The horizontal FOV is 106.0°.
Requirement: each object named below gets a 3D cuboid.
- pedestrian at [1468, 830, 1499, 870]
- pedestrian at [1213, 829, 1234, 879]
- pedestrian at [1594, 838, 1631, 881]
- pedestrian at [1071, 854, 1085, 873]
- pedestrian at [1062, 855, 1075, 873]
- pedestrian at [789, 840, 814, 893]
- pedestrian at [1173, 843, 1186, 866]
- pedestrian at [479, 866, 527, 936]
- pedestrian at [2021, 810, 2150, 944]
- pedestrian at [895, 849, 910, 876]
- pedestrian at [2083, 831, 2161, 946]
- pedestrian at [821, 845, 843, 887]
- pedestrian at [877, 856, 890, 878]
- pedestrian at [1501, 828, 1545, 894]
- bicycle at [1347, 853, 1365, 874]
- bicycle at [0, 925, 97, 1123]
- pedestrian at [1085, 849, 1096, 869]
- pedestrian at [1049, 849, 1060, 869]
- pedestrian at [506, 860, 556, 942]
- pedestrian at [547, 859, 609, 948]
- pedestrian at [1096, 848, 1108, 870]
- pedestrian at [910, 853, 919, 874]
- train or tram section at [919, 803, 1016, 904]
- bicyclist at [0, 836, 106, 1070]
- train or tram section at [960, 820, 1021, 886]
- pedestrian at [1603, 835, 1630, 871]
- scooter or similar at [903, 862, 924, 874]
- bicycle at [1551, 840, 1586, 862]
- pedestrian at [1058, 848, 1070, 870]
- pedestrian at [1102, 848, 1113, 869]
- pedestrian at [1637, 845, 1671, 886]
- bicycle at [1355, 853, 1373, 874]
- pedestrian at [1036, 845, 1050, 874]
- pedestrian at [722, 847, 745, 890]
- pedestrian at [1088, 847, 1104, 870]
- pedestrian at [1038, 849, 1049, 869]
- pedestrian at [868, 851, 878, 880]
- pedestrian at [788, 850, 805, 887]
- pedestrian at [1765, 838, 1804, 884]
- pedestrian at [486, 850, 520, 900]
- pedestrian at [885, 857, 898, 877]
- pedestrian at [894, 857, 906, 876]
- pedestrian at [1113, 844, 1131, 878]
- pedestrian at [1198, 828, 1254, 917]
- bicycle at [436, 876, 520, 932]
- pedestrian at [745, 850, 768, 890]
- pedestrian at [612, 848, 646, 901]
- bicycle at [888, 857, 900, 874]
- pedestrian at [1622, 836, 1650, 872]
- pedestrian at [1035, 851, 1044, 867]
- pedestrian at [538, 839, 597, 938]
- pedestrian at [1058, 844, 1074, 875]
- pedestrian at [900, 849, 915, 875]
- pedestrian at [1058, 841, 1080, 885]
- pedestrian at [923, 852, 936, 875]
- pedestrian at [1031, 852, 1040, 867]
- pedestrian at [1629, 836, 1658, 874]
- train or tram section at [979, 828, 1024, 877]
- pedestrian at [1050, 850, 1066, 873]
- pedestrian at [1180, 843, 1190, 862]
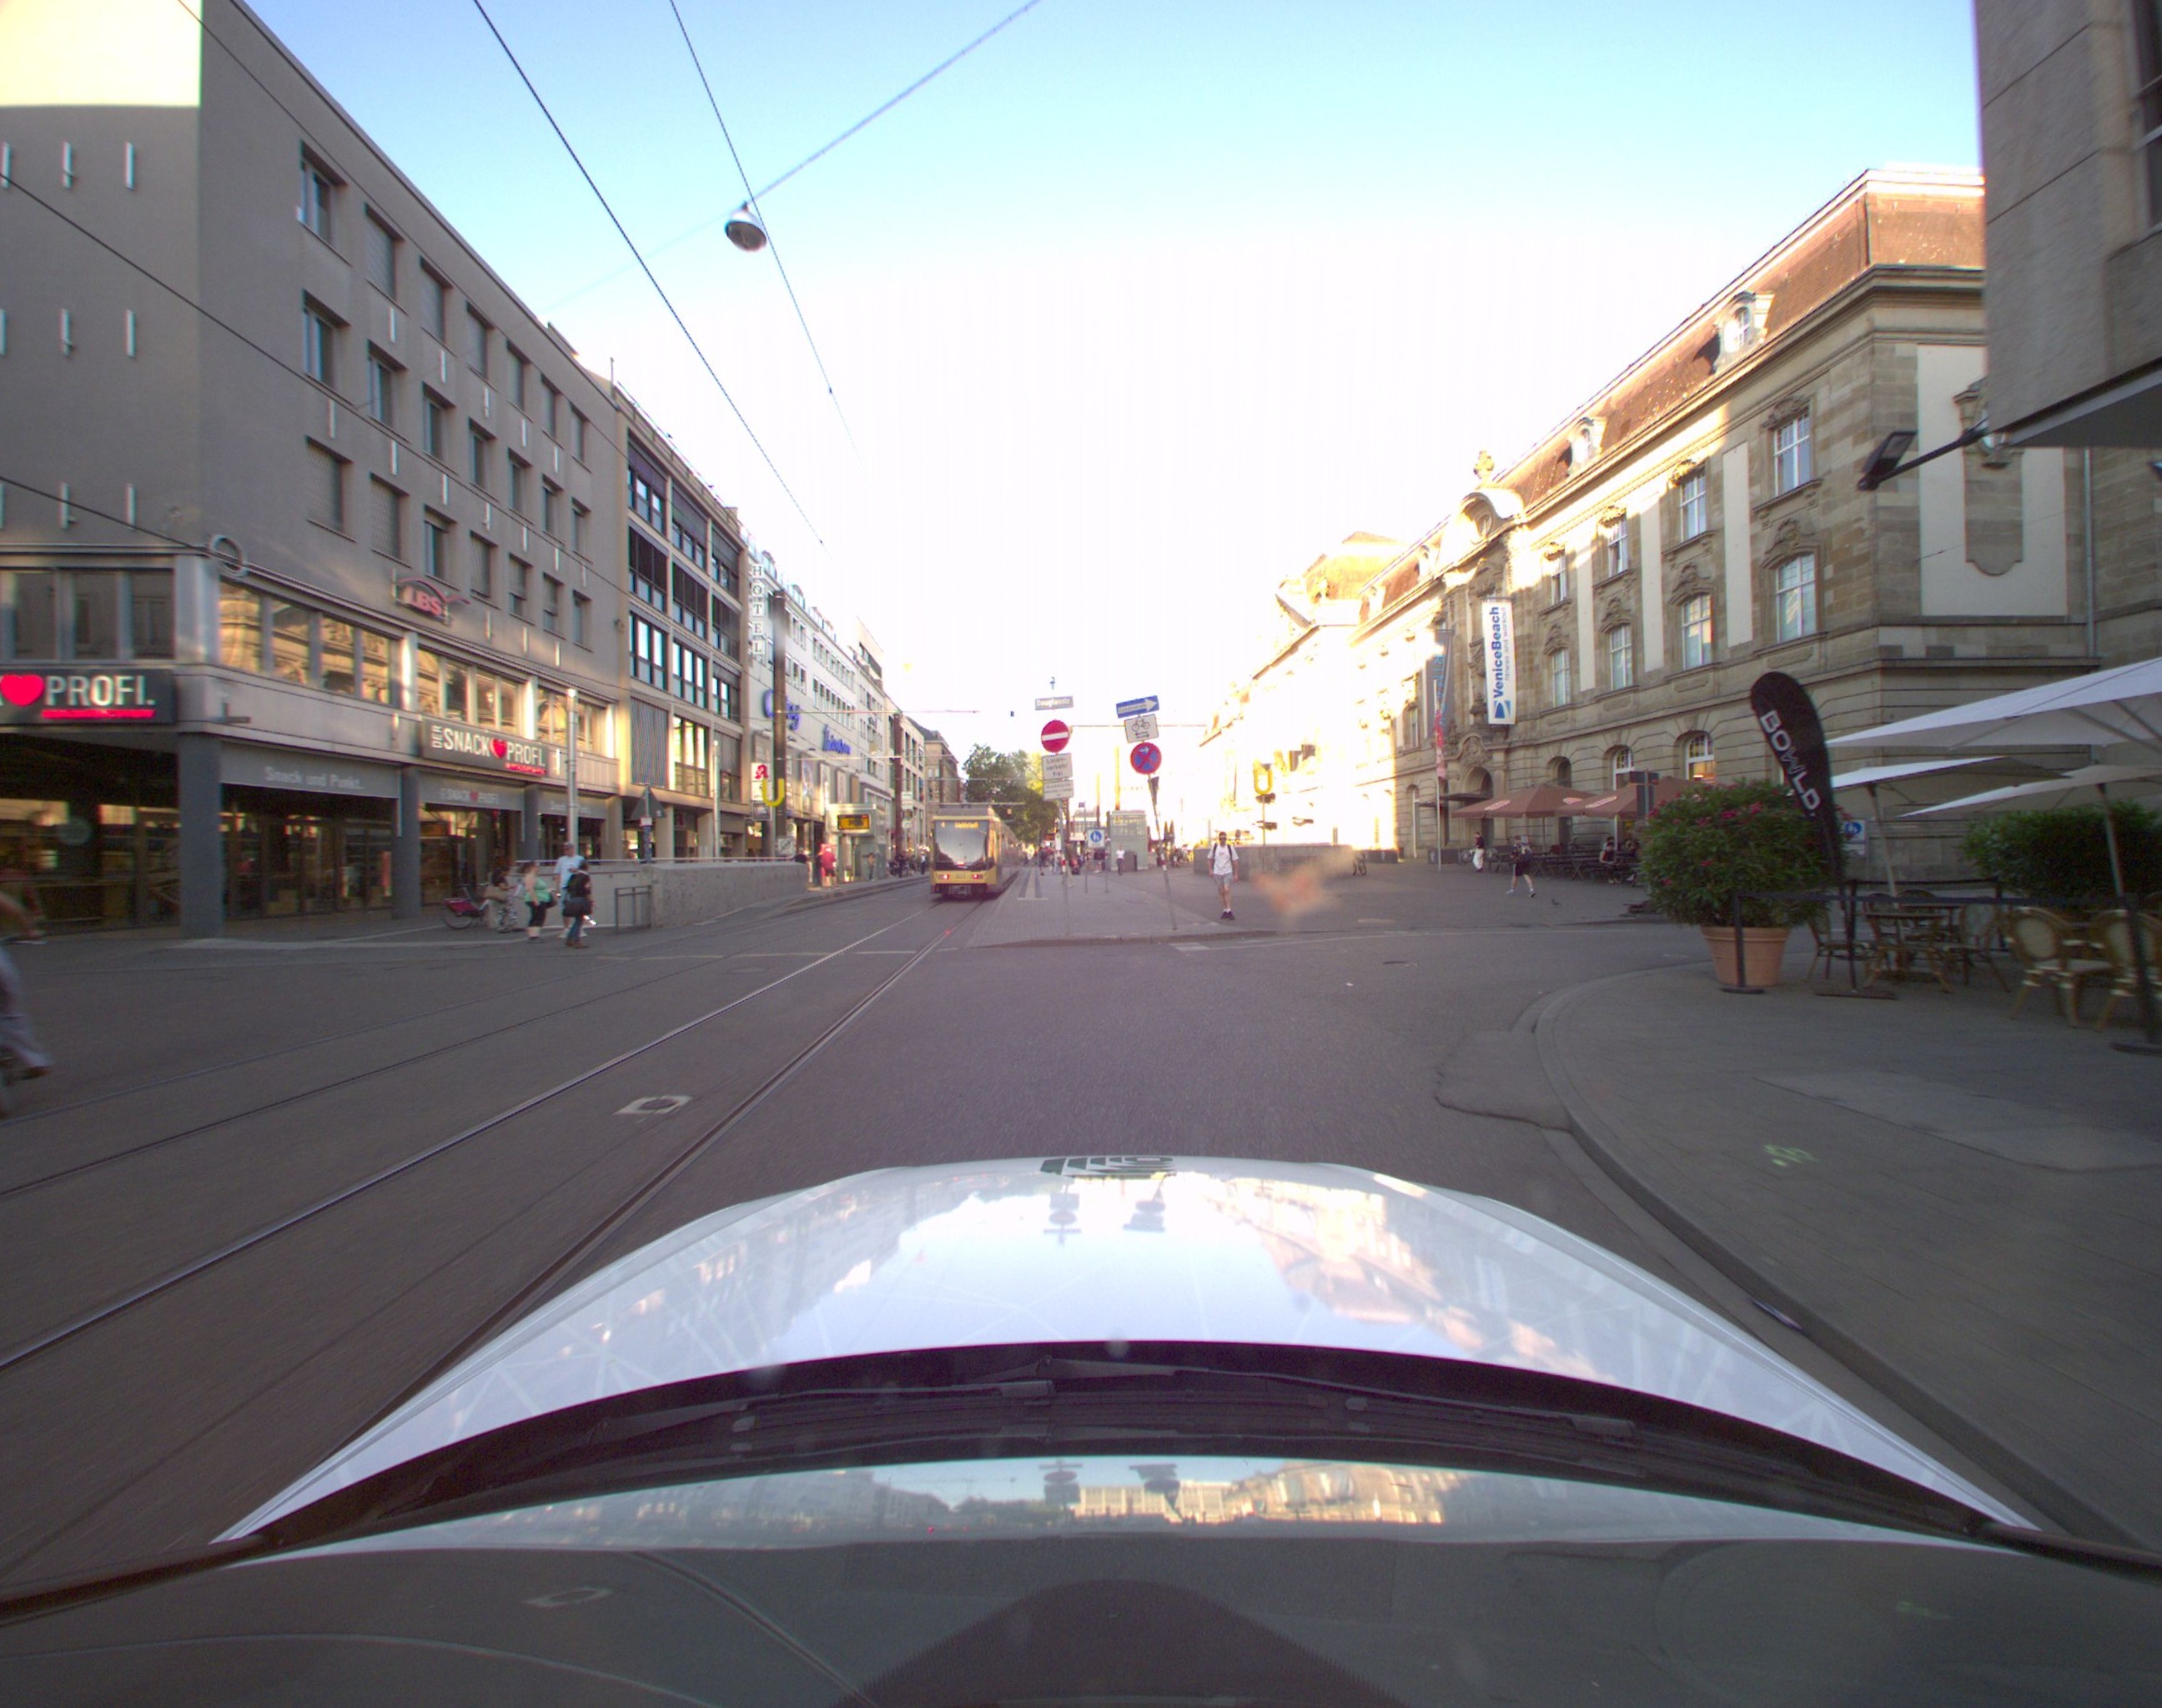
[{"bbox_3d":[16.129,-0.165,32.667,0.844,1.565,0.851,-1,1,3],"label":"pedestrian"},{"bbox_3d":[5.855,0.009,33.600,0.766,2.014,0.919,0,-1,5],"label":"pedestrian"},{"bbox_3d":[17.459,0.178,26.750,0.799,1.382,0.654,0,2,7],"label":"pedestrian"},{"bbox_3d":[-0.199,0.650,53.722,0.791,1.221,0.767,-1,0,-7],"label":"pedestrian"},{"bbox_3d":[-0.840,0.660,54.486,0.791,1.221,0.767,-1,0,-7],"label":"pedestrian"},{"bbox_3d":[-10.419,0.473,30.370,0.713,1.925,0.707,-1,-1,-8],"label":"pedestrian"},{"bbox_3d":[7.620,0.041,63.198,0.845,1.823,0.775,-1,0,-3],"label":"pedestrian"},{"bbox_3d":[-12.293,0.979,17.322,0.548,1.434,0.689,-2,-1,35],"label":"pedestrian"},{"bbox_3d":[14.415,0.320,11.708,0.802,1.839,0.873,0,0,-4],"label":"pedestrian"},{"bbox_3d":[-11.298,0.532,51.561,0.712,1.725,0.767,-1,-1,-34],"label":"pedestrian"},{"bbox_3d":[15.248,0.473,11.637,0.802,1.581,0.873,0,0,-4],"label":"pedestrian"},{"bbox_3d":[-10.234,0.495,33.458,0.713,1.698,0.783,-1,-1,-9],"label":"pedestrian"},{"bbox_3d":[-12.903,0.864,53.158,0.706,1.379,0.719,-1,-1,-4],"label":"pedestrian"},{"bbox_3d":[12.496,0.191,23.030,0.805,1.823,0.806,-1,1,1],"label":"pedestrian"},{"bbox_3d":[11.463,0.391,33.970,0.315,0.867,0.999,-2,0,-4],"label":"bicycle"},{"bbox_3d":[-7.384,1.095,5.480,2.087,1.073,0.822,-1,0,44],"label":"bicycle"},{"bbox_3d":[0.810,0.418,69.842,0.787,1.661,0.771,-1,0,8],"label":"pedestrian"},{"bbox_3d":[-2.169,0.422,66.647,0.787,1.661,0.771,-1,0,8],"label":"pedestrian"},{"bbox_3d":[-10.422,0.876,15.455,0.604,1.494,0.553,-1,-1,-11],"label":"pedestrian"},{"bbox_3d":[-8.939,0.874,14.492,0.680,1.542,0.607,-1,-1,8],"label":"pedestrian"},{"bbox_3d":[1.624,0.366,62.231,0.787,1.661,0.771,-1,0,8],"label":"pedestrian"},{"bbox_3d":[-13.561,0.780,66.340,0.601,1.727,0.606,-1,-1,-10],"label":"pedestrian"},{"bbox_3d":[-4.390,-0.045,34.583,2.794,3.319,14.490,-1,0,-3],"label":"train or tram section"},{"bbox_3d":[-7.358,0.645,5.445,0.846,1.502,1.006,-1,0,43],"label":"bicyclist"},{"bbox_3d":[-5.191,-0.080,49.096,2.794,3.319,14.490,-1,0,-3],"label":"train or tram section"},{"bbox_3d":[19.963,-0.030,30.360,0.591,1.308,0.580,-1,2,-8],"label":"pedestrian"},{"bbox_3d":[-12.075,1.038,58.739,0.552,0.831,1.535,-2,-1,36],"label":"scooter or similar"},{"bbox_3d":[20.651,-0.128,34.506,1.317,0.894,0.409,-2,1,-8],"label":"bicycle"},{"bbox_3d":[-1.288,0.387,61.906,0.787,1.661,0.771,-1,0,8],"label":"pedestrian"},{"bbox_3d":[2.160,0.384,65.883,0.787,1.661,0.771,-1,0,8],"label":"pedestrian"},{"bbox_3d":[17.861,0.344,25.408,0.611,1.226,0.703,0,2,11],"label":"pedestrian"},{"bbox_3d":[11.787,0.389,33.993,0.315,0.867,0.999,-2,0,-4],"label":"bicycle"},{"bbox_3d":[-2.409,0.339,51.601,0.735,1.823,0.815,-1,0,-18],"label":"pedestrian"},{"bbox_3d":[-13.984,0.587,32.766,0.597,1.725,0.632,-2,-1,43],"label":"pedestrian"},{"bbox_3d":[1.075,0.352,59.132,0.774,1.661,0.785,-1,0,-44],"label":"pedestrian"},{"bbox_3d":[-3.231,0.449,69.334,0.762,1.661,0.797,-1,0,9],"label":"pedestrian"},{"bbox_3d":[-11.654,0.645,45.582,0.511,1.617,0.503,-1,-1,-12],"label":"pedestrian"},{"bbox_3d":[-12.512,0.652,35.791,0.604,1.588,0.625,-1,-1,-13],"label":"pedestrian"},{"bbox_3d":[20.803,0.202,24.085,0.657,1.308,0.777,-1,3,21],"label":"pedestrian"},{"bbox_3d":[-20.346,0.742,28.677,0.712,1.725,0.708,-1,-1,-5],"label":"pedestrian"},{"bbox_3d":[-12.849,0.876,55.264,0.706,1.379,0.719,-1,-1,-4],"label":"pedestrian"},{"bbox_3d":[-13.006,0.897,58.595,0.706,1.379,0.719,-1,-1,-4],"label":"pedestrian"},{"bbox_3d":[2.288,0.390,45.411,0.772,1.823,0.938,-2,0,-7],"label":"pedestrian"},{"bbox_3d":[3.117,0.395,17.624,1.010,1.863,1.042,0,-1,0],"label":"pedestrian"},{"bbox_3d":[-13.838,1.122,18.738,0.496,1.107,1.801,-1,1,2],"label":"bicycle"},{"bbox_3d":[-13.178,0.641,33.067,0.597,1.588,0.632,-2,-2,44],"label":"pedestrian"},{"bbox_3d":[-14.884,0.669,26.821,0.712,1.725,0.708,-1,-1,-5],"label":"pedestrian"},{"bbox_3d":[-13.214,0.803,57.443,0.435,1.142,1.604,-1,0,-27],"label":"bicycle"},{"bbox_3d":[20.634,-0.008,30.282,0.591,1.308,0.581,-1,2,-5],"label":"pedestrian"},{"bbox_3d":[-4.292,0.543,83.753,0.787,1.661,0.771,-1,0,8],"label":"pedestrian"},{"bbox_3d":[-10.298,0.671,16.355,0.773,1.926,0.707,-1,-1,-11],"label":"pedestrian"},{"bbox_3d":[-0.870,0.306,47.942,0.735,1.823,0.815,-1,0,-18],"label":"pedestrian"},{"bbox_3d":[-11.348,0.519,53.384,0.712,1.725,0.767,-1,-1,-32],"label":"pedestrian"},{"bbox_3d":[-0.496,0.361,32.557,0.719,1.725,0.706,-1,-1,-14],"label":"pedestrian"},{"bbox_3d":[-11.318,0.714,60.874,0.771,1.725,0.708,-1,-1,-4],"label":"pedestrian"},{"bbox_3d":[-5.007,0.579,89.455,0.763,1.661,0.796,-1,0,6],"label":"pedestrian"},{"bbox_3d":[20.164,0.029,29.209,0.607,1.308,0.607,-1,2,-8],"label":"pedestrian"},{"bbox_3d":[-5.998,-0.113,63.578,2.794,3.319,14.490,-1,0,-3],"label":"train or tram section"},{"bbox_3d":[-1.574,0.535,56.344,0.759,1.579,0.799,-1,0,26],"label":"pedestrian"},{"bbox_3d":[10.403,-0.169,81.687,0.772,1.825,0.848,-1,0,-6],"label":"pedestrian"}]
